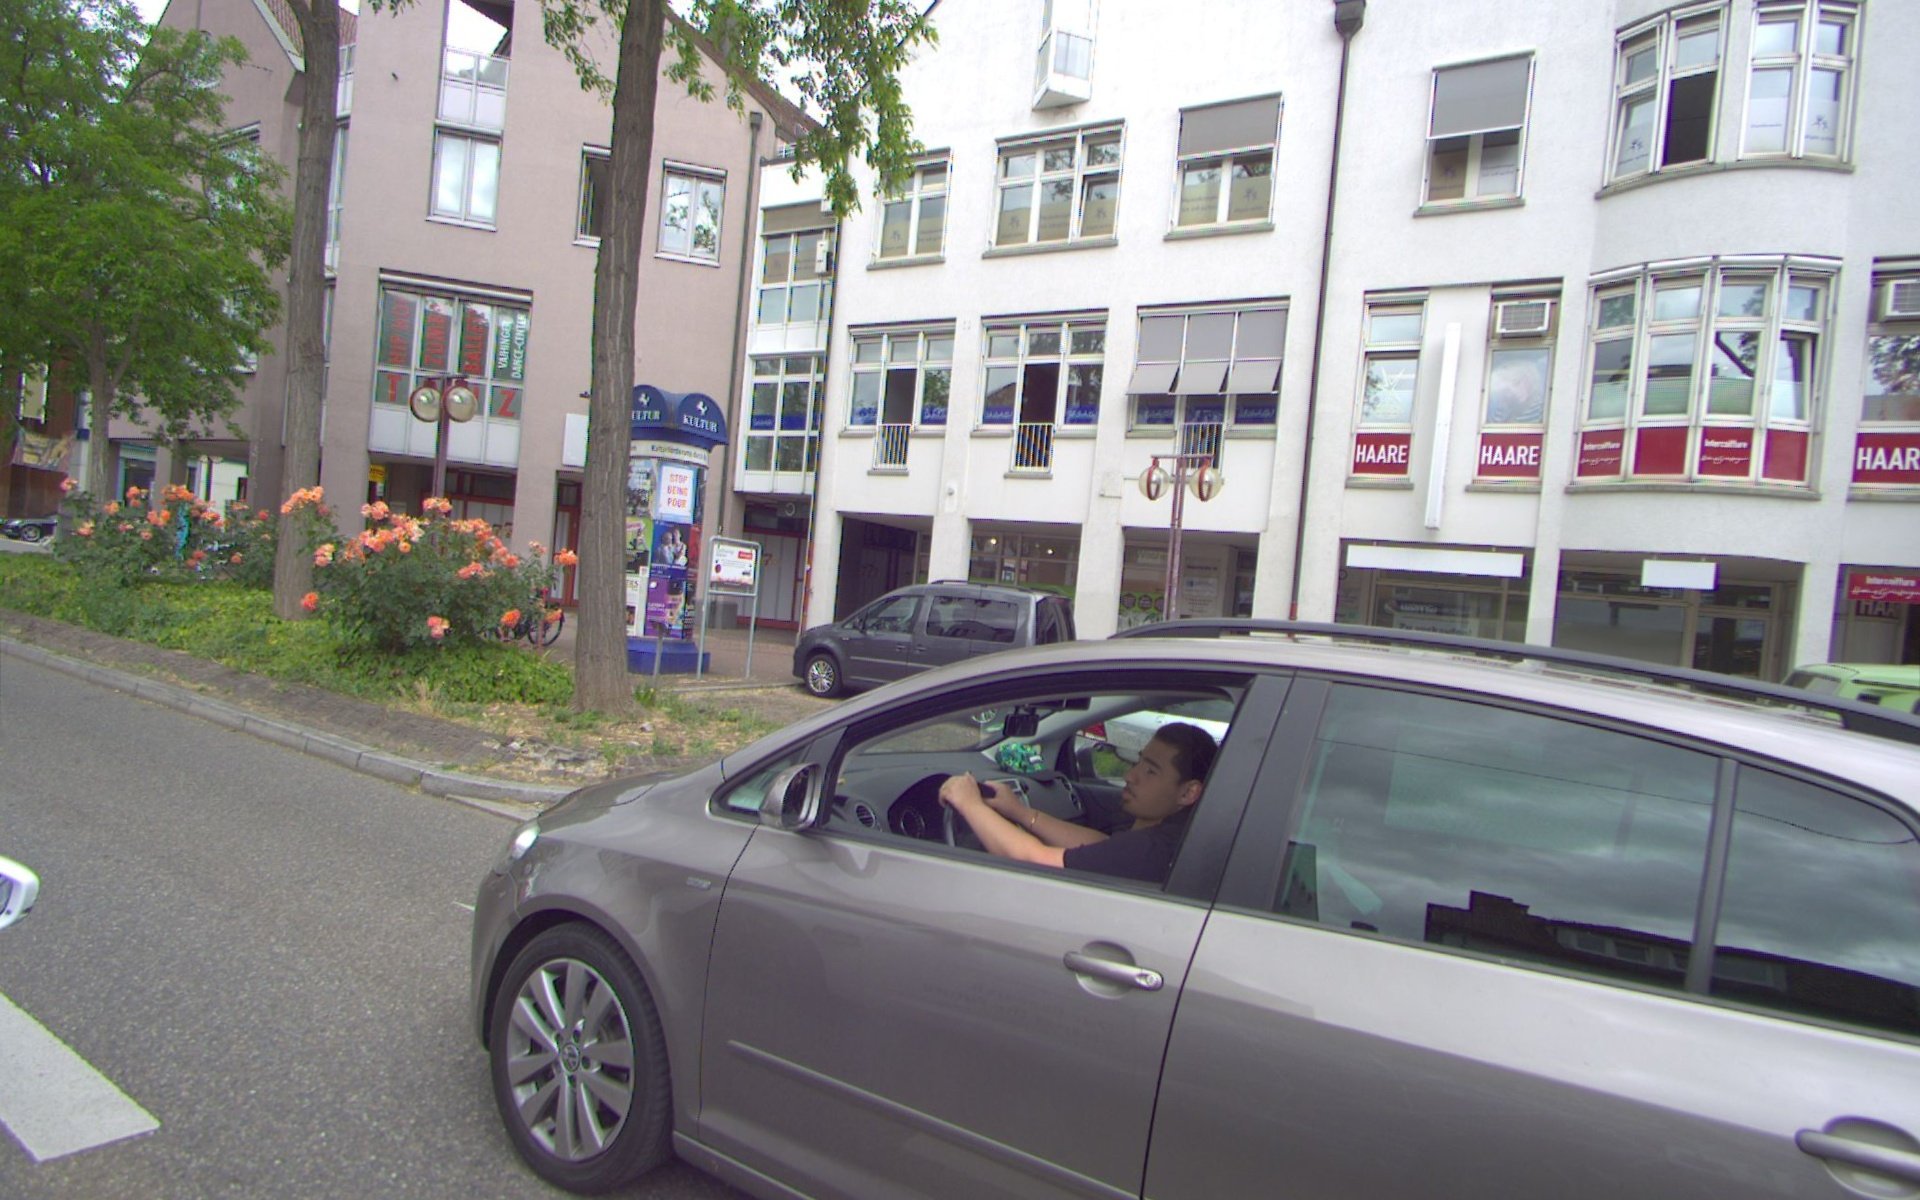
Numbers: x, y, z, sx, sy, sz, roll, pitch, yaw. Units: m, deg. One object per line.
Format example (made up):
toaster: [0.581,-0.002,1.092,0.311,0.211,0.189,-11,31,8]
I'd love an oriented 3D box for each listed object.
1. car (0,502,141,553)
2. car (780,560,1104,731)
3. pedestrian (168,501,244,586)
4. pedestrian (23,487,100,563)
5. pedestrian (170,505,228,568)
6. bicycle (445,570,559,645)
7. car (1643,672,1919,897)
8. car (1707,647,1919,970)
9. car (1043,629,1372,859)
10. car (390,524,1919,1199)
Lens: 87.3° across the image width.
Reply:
car: [-35.555,-2.881,40.015,1.769,1.421,4.181,7,-1,28]
car: [-0.299,0.568,14.383,4.188,1.828,1.736,6,2,29]
pedestrian: [-15.910,-1.184,21.230,1.074,1.647,0.809,7,2,28]
pedestrian: [-22.623,-1.882,25.337,1.091,1.737,1.057,7,1,30]
pedestrian: [-21.271,-1.777,28.126,1.040,1.604,0.831,6,1,26]
bicycle: [-7.390,0.124,16.280,1.545,1.062,0.405,6,1,-18]
car: [8.905,1.718,8.655,4.671,1.568,1.996,6,1,28]
car: [7.846,1.507,6.304,4.672,1.901,1.995,6,2,28]
car: [2.628,1.143,9.653,1.710,1.472,4.642,7,1,30]
car: [0.632,0.828,2.586,3.932,1.548,1.800,7,-1,30]
